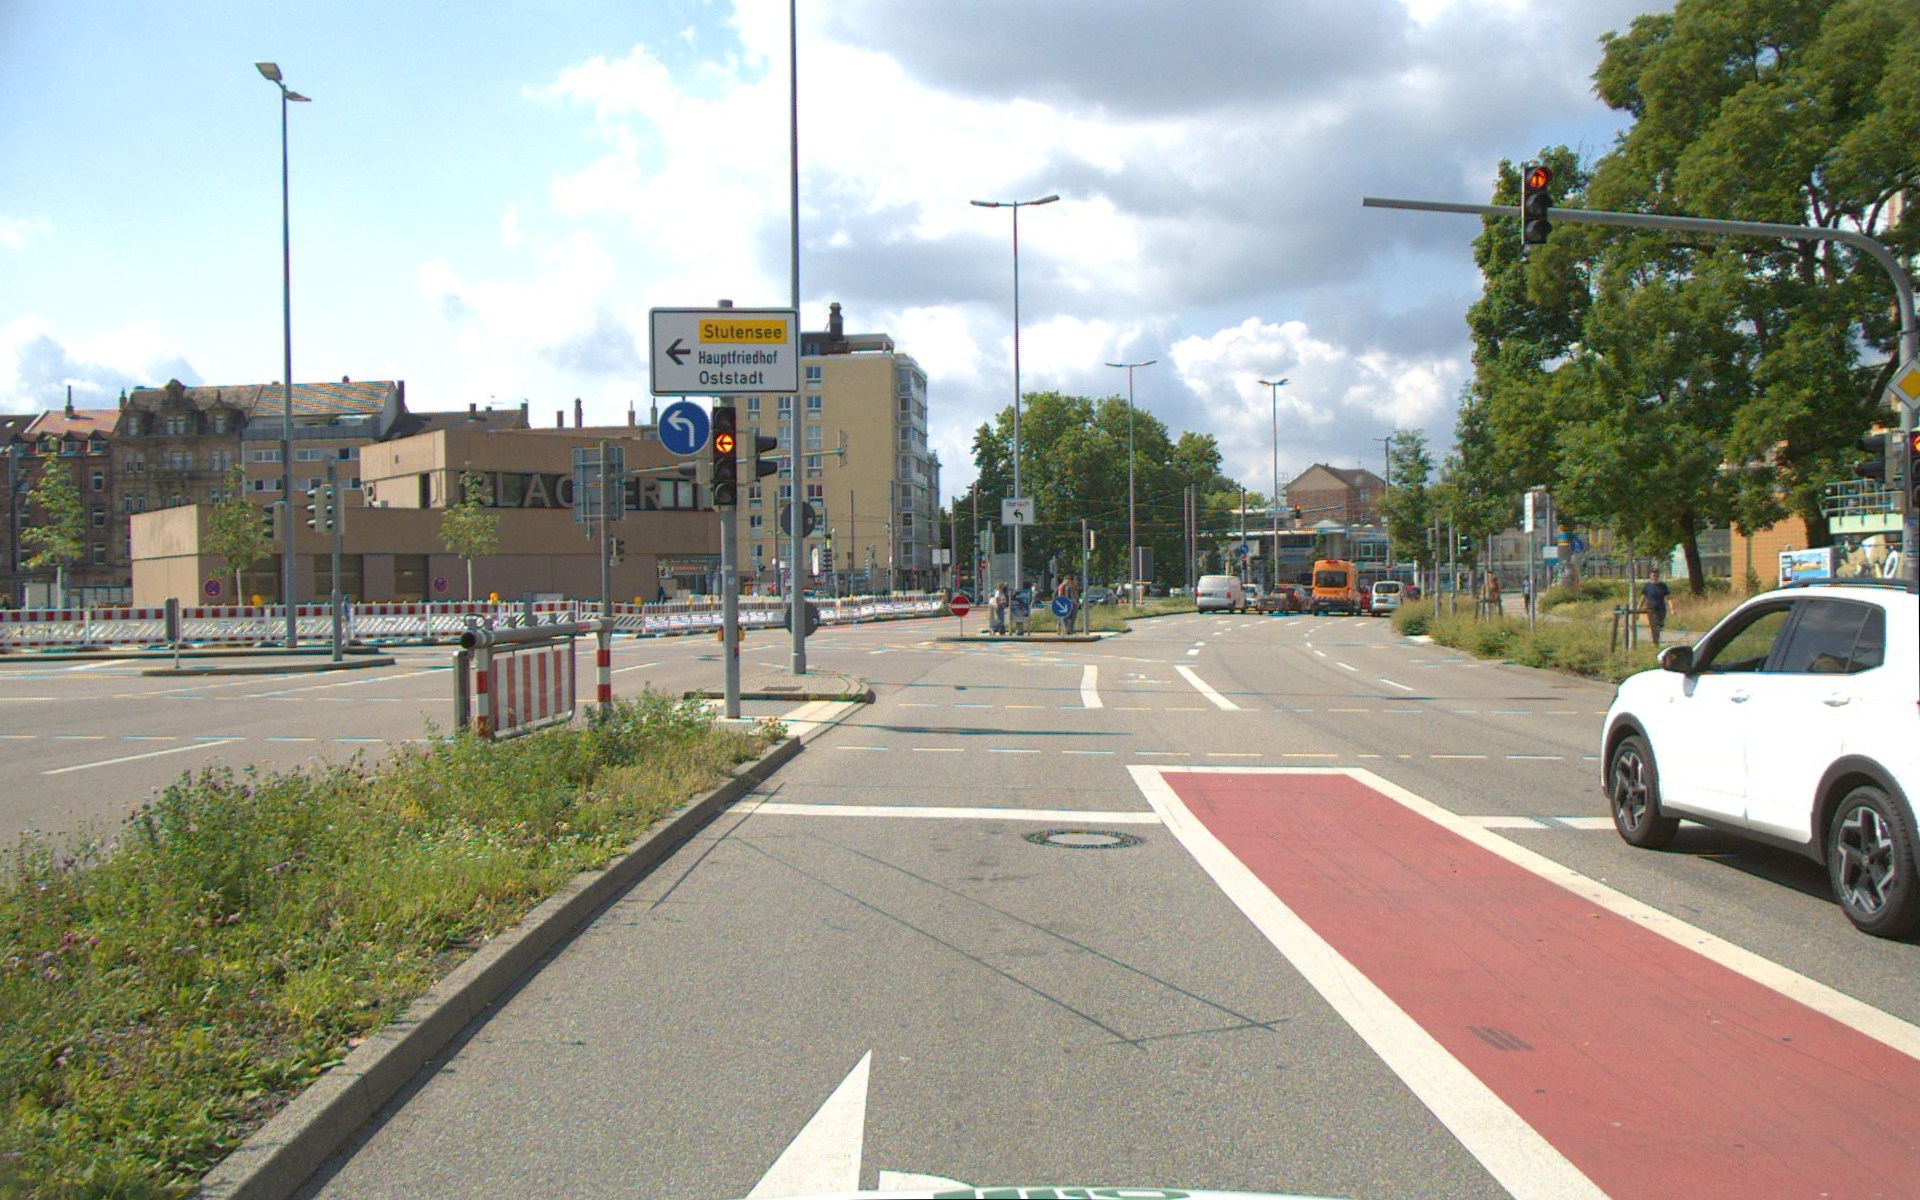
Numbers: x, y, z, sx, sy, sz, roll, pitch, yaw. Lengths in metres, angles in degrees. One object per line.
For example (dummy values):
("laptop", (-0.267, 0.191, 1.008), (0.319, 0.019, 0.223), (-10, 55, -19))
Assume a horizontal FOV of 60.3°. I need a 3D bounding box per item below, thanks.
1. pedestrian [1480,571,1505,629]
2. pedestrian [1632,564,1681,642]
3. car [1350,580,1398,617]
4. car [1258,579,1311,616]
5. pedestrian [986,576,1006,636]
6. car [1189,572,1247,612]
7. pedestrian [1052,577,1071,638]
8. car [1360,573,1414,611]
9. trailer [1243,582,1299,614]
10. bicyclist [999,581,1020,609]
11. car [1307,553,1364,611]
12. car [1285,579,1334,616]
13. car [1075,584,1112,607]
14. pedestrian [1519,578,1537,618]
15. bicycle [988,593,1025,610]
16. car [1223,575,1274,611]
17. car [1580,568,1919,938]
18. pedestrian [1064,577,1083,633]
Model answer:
("pedestrian", (16.308, -0.007, 50.676), (0.646, 1.763, 0.578), (-1, 0, 12))
("pedestrian", (13.940, 0.059, 33.115), (0.754, 1.534, 0.552), (-1, 0, 3))
("car", (23.272, -0.121, 92.850), (1.951, 1.972, 4.638), (-1, 0, 22))
("car", (17.309, -0.144, 88.008), (1.953, 1.858, 3.999), (-1, 0, 23))
("pedestrian", (1.098, 0.177, 49.911), (0.513, 1.763, 0.624), (-1, 0, 8))
("car", (13.613, -0.418, 87.055), (1.964, 2.001, 4.638), (-1, 0, 22))
("pedestrian", (2.980, 0.218, 48.521), (0.513, 1.763, 0.624), (-1, 0, 8))
("car", (21.385, -0.429, 82.719), (1.953, 1.826, 3.999), (-1, 0, 24))
("trailer", (15.966, -0.118, 84.813), (1.953, 1.503, 3.999), (-1, 0, 23))
("bicyclist", (3.378, -0.341, 112.306), (1.194, 1.943, 0.859), (-1, 0, 19))
("car", (19.246, -0.913, 84.680), (2.086, 2.829, 4.638), (-1, 0, 22))
("car", (19.848, -0.146, 93.832), (1.951, 1.972, 4.638), (-1, 0, 22))
("car", (8.247, -0.282, 101.920), (1.754, 1.412, 4.231), (0, 0, 11))
("pedestrian", (26.069, -0.089, 75.900), (0.771, 1.815, 0.667), (-1, 0, 19))
("bicycle", (3.139, 0.090, 112.391), (2.329, 1.085, 0.859), (-1, 0, 19))
("car", (16.570, -0.421, 94.884), (1.951, 1.972, 4.638), (-1, 0, 22))
("car", (4.915, 0.641, 8.668), (1.754, 1.566, 4.010), (1, 1, -1))
("pedestrian", (3.480, 0.141, 50.748), (0.513, 1.713, 0.624), (-1, 0, 8))
